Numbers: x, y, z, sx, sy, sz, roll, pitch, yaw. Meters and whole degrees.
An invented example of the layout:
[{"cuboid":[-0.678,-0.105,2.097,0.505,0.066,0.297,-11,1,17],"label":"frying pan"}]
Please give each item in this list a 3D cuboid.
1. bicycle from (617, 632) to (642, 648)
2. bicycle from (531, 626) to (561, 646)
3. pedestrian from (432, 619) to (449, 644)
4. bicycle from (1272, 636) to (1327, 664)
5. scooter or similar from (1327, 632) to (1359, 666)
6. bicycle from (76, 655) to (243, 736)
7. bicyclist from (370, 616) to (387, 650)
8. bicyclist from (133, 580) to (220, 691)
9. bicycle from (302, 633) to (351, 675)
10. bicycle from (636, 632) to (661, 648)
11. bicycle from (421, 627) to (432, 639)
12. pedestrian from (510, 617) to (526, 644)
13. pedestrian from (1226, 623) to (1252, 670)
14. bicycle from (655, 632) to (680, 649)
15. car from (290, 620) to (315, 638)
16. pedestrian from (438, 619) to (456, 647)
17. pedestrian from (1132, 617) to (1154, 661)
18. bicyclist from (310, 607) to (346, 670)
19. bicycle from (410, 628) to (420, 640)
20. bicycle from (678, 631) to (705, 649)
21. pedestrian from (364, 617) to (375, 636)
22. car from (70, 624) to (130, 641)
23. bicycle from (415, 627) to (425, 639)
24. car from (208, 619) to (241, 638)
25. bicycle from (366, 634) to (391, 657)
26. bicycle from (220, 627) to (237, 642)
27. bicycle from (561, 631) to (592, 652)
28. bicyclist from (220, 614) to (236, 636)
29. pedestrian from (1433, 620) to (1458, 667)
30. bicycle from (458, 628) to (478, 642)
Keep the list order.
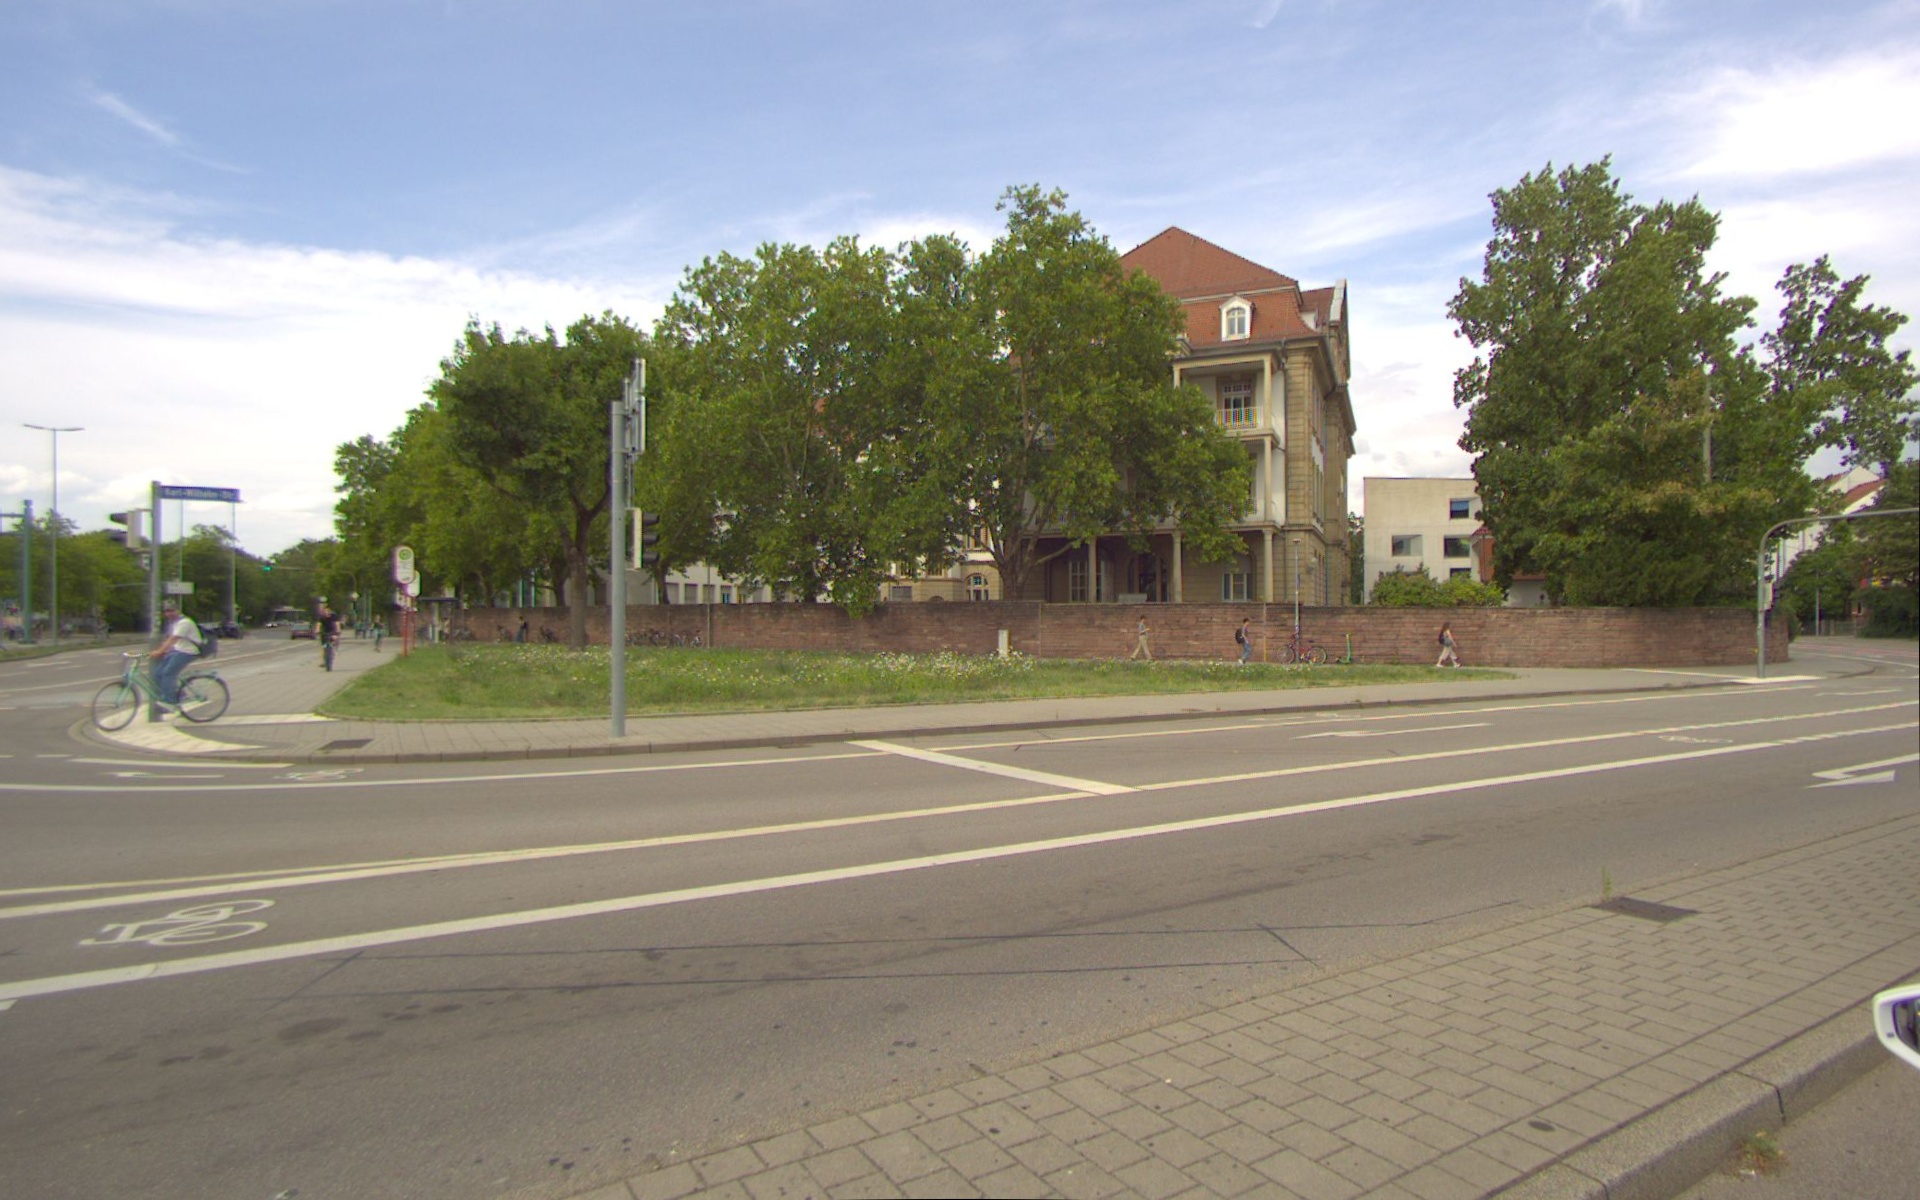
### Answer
[{"cuboid":[-18.069,2.182,54.949,1.794,0.875,0.357,-1,-3,39],"label":"bicycle"},{"cuboid":[-24.908,2.174,60.454,2.067,1.204,0.755,-1,-3,40],"label":"bicycle"},{"cuboid":[-35.199,2.135,68.092,0.655,1.643,0.751,-1,1,38],"label":"pedestrian"},{"cuboid":[12.770,1.881,37.819,1.888,1.018,0.779,-2,1,17],"label":"bicycle"},{"cuboid":[14.294,1.825,37.450,0.513,1.154,1.509,-1,1,45],"label":"scooter or similar"},{"cuboid":[-11.486,1.338,14.505,0.496,0.948,1.972,1,1,15],"label":"bicycle"},{"cuboid":[-27.176,1.544,46.968,0.486,1.576,0.795,0,1,-14],"label":"bicyclist"},{"cuboid":[-11.404,0.493,14.645,0.568,1.576,0.798,1,1,15],"label":"bicyclist"},{"cuboid":[-16.531,1.388,26.242,0.497,0.948,1.965,0,1,-14],"label":"bicycle"},{"cuboid":[-16.676,2.146,53.782,1.783,0.875,0.357,-2,-3,42],"label":"bicycle"},{"cuboid":[-41.708,2.599,78.525,0.429,0.899,1.558,-4,1,-39],"label":"bicycle"},{"cuboid":[-27.491,1.885,62.489,0.743,1.643,0.566,-1,1,40],"label":"pedestrian"},{"cuboid":[10.269,1.721,36.932,0.766,1.677,0.577,-2,1,2],"label":"pedestrian"},{"cuboid":[-15.308,2.112,52.530,1.864,0.875,0.357,-2,-4,43],"label":"bicycle"},{"cuboid":[-58.643,2.552,89.662,1.681,1.500,4.378,-2,0,-32],"label":"car"},{"cuboid":[-31.333,2.023,61.344,0.655,1.643,0.751,-1,1,38],"label":"pedestrian"},{"cuboid":[7.069,1.498,38.898,0.766,1.677,0.577,-2,1,7],"label":"pedestrian"},{"cuboid":[-16.512,0.992,26.251,0.570,1.576,0.795,0,1,-14],"label":"bicyclist"},{"cuboid":[-44.063,2.751,81.228,0.429,0.899,1.558,-4,1,-39],"label":"bicycle"},{"cuboid":[-13.858,2.071,51.893,1.681,0.875,0.357,-1,-3,36],"label":"bicycle"},{"cuboid":[-52.118,2.342,88.592,0.747,1.643,0.659,-2,1,-34],"label":"pedestrian"},{"cuboid":[-79.990,3.019,93.489,4.048,1.509,1.791,2,-1,2],"label":"car"},{"cuboid":[-42.882,2.628,79.776,0.429,0.899,1.558,-4,1,-39],"label":"bicycle"},{"cuboid":[-63.307,2.426,86.436,1.778,1.509,4.077,3,-2,-44],"label":"car"},{"cuboid":[-27.161,2.108,46.950,0.497,0.948,1.965,0,1,-14],"label":"bicycle"},{"cuboid":[-59.918,2.804,82.301,0.749,1.204,2.085,2,-3,-26],"label":"bicycle"},{"cuboid":[-22.126,2.394,57.896,2.067,1.204,0.755,-1,-3,40],"label":"bicycle"},{"cuboid":[-60.106,2.080,82.486,0.768,1.733,1.079,2,-3,-26],"label":"bicyclist"},{"cuboid":[17.848,1.599,36.955,0.617,1.677,0.531,-2,1,-1],"label":"pedestrian"},{"cuboid":[-33.889,2.439,69.140,1.554,0.899,0.658,-2,1,42],"label":"bicycle"}]
